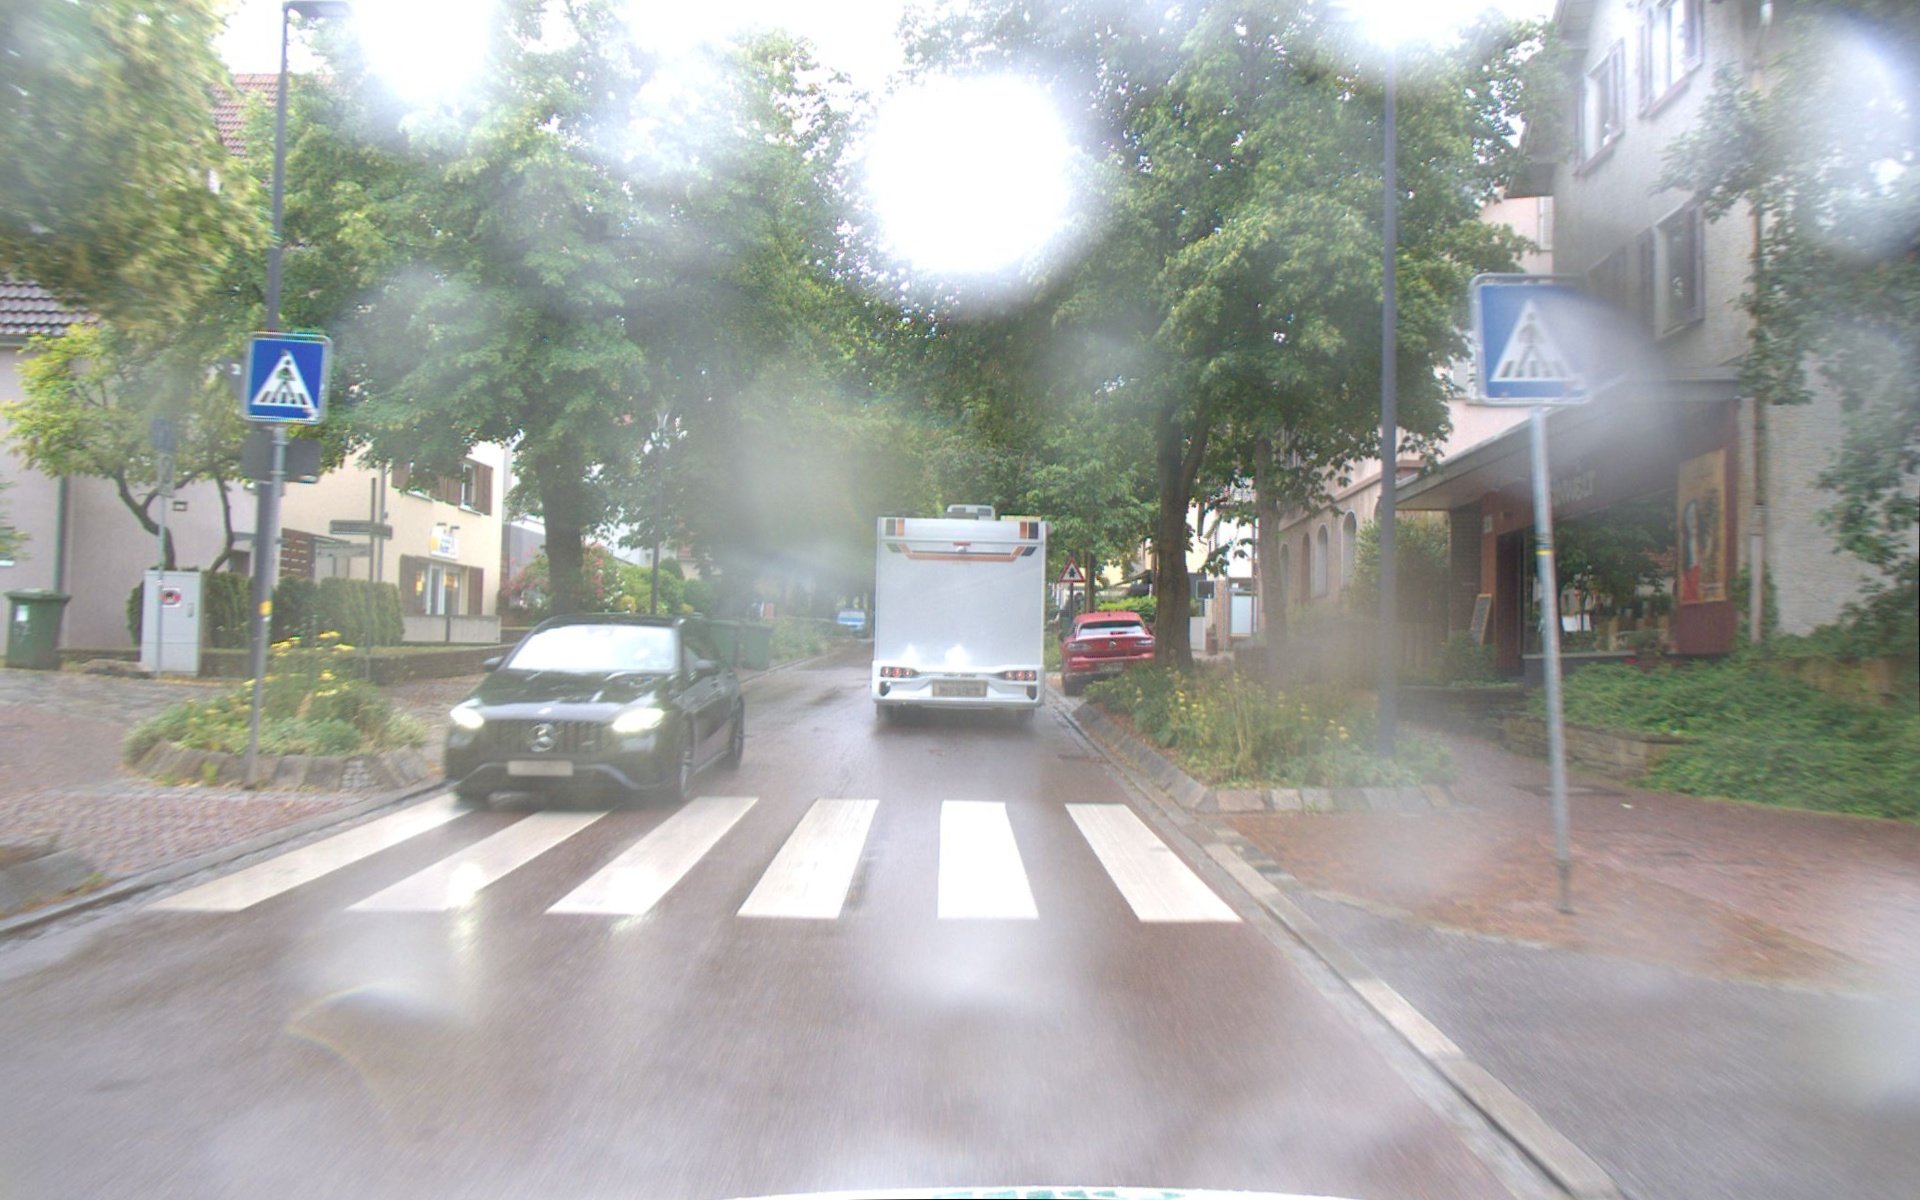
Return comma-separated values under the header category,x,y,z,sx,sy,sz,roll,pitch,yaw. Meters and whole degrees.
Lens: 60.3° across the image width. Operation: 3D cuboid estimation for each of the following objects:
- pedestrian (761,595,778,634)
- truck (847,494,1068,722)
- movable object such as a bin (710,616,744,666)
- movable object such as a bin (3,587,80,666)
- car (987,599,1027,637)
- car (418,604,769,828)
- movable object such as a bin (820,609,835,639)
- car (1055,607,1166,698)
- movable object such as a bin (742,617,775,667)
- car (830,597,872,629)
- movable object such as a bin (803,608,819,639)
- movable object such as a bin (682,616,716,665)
category,x,y,z,sx,sy,sz,roll,pitch,yaw
pedestrian,-9.407,0.715,81.688,0.800,1.876,0.770,0,-1,-1
truck,-0.073,0.150,23.699,2.749,2.846,6.105,0,-1,-1
movable object such as a bin,-5.362,0.936,38.127,0.656,1.124,0.817,1,-1,-1
movable object such as a bin,-12.570,0.364,22.646,0.560,1.053,0.739,1,-1,12
car,2.018,0.793,71.352,1.615,1.569,3.530,0,-1,0
car,-2.780,0.804,13.601,1.817,1.409,4.408,3,0,0
movable object such as a bin,-4.707,0.858,58.770,0.517,1.077,0.562,0,-1,0
car,2.789,0.935,31.432,1.817,1.497,4.366,2,0,2
movable object such as a bin,-4.655,0.965,38.203,0.656,1.114,0.817,1,-1,-1
car,-5.529,0.673,83.477,1.764,1.579,3.992,0,-1,-9
movable object such as a bin,-5.279,0.837,58.767,0.517,1.077,0.562,0,-1,0
movable object such as a bin,-6.097,0.949,38.651,0.656,1.124,0.817,1,-1,-1
